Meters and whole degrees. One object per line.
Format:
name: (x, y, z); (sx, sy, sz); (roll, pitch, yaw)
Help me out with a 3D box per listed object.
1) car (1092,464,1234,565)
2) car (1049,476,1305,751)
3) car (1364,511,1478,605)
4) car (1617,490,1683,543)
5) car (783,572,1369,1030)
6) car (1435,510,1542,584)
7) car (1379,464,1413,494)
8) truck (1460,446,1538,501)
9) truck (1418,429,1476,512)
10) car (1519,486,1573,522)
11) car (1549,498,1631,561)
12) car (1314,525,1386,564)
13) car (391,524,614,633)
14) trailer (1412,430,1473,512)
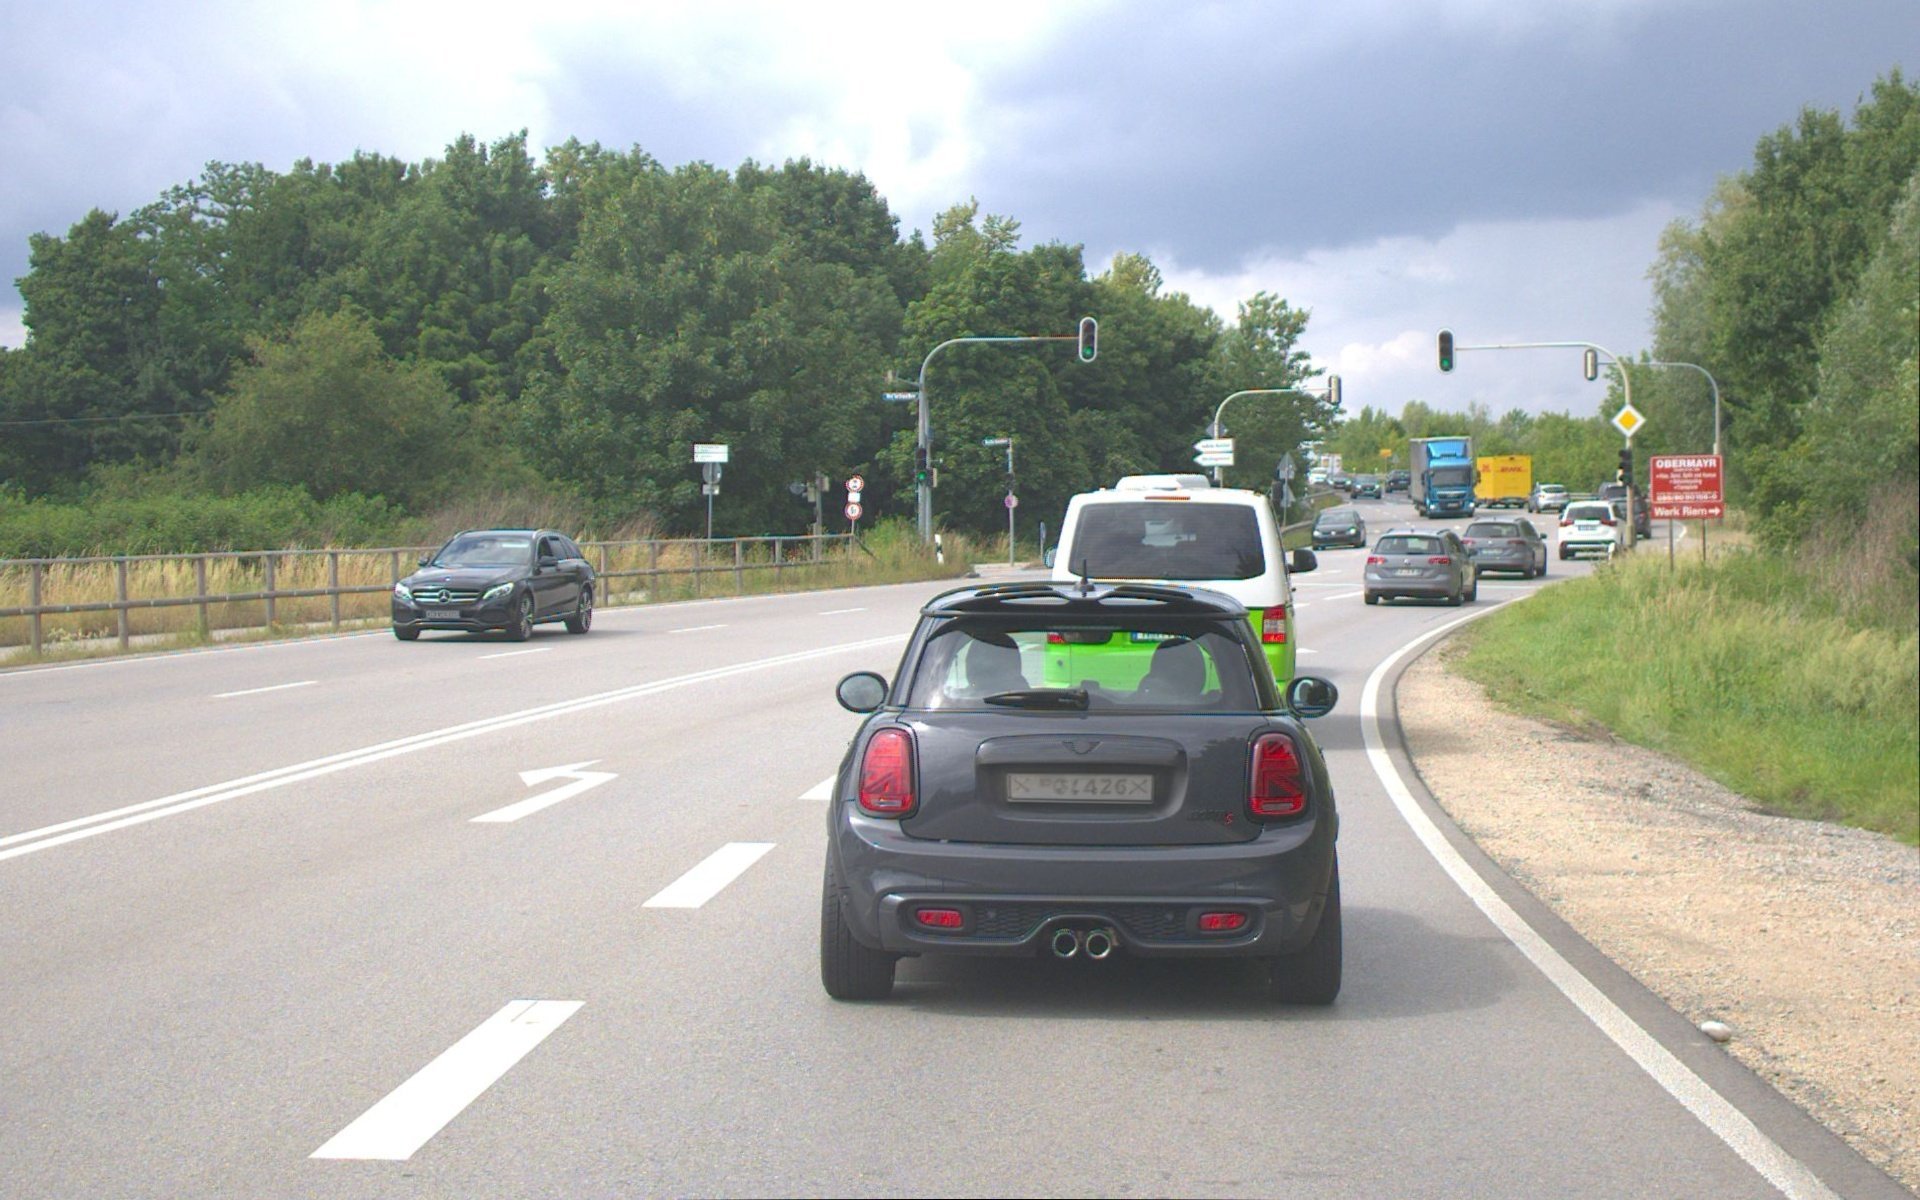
car: (5.644, -2.343, 94.486); (2.435, 2.665, 6.883); (1, 1, 16)
car: (1.740, 0.043, 26.929); (1.845, 1.980, 3.840); (1, 2, 5)
car: (8.767, -0.772, 65.130); (1.994, 1.678, 3.998); (1, 0, 9)
car: (23.628, -2.850, 117.691); (1.995, 1.678, 3.997); (1, 0, 14)
car: (0.443, 0.621, 12.850); (1.845, 1.423, 3.841); (1, 1, 2)
car: (12.754, -1.256, 82.838); (1.995, 1.678, 3.974); (1, 0, 16)
car: (30.863, -8.572, 243.580); (1.993, 2.007, 4.000); (1, 0, 1)
truck: (29.855, -6.967, 190.671); (2.717, 2.888, 8.772); (0, 1, -1)
truck: (24.336, -6.446, 172.003); (2.540, 4.082, 4.000); (0, 1, 4)
car: (29.527, -4.829, 173.403); (1.993, 1.781, 4.486); (-1, 2, 1)
car: (18.247, -2.026, 99.444); (1.995, 1.678, 3.997); (1, 0, 15)
car: (14.592, -2.086, 128.546); (1.947, 1.436, 3.997); (0, 1, 18)
car: (-6.292, -0.321, 47.741); (1.809, 1.437, 4.351); (0, 1, 11)
trailer: (24.549, -6.554, 175.241); (2.527, 4.086, 6.735); (0, 1, 3)
